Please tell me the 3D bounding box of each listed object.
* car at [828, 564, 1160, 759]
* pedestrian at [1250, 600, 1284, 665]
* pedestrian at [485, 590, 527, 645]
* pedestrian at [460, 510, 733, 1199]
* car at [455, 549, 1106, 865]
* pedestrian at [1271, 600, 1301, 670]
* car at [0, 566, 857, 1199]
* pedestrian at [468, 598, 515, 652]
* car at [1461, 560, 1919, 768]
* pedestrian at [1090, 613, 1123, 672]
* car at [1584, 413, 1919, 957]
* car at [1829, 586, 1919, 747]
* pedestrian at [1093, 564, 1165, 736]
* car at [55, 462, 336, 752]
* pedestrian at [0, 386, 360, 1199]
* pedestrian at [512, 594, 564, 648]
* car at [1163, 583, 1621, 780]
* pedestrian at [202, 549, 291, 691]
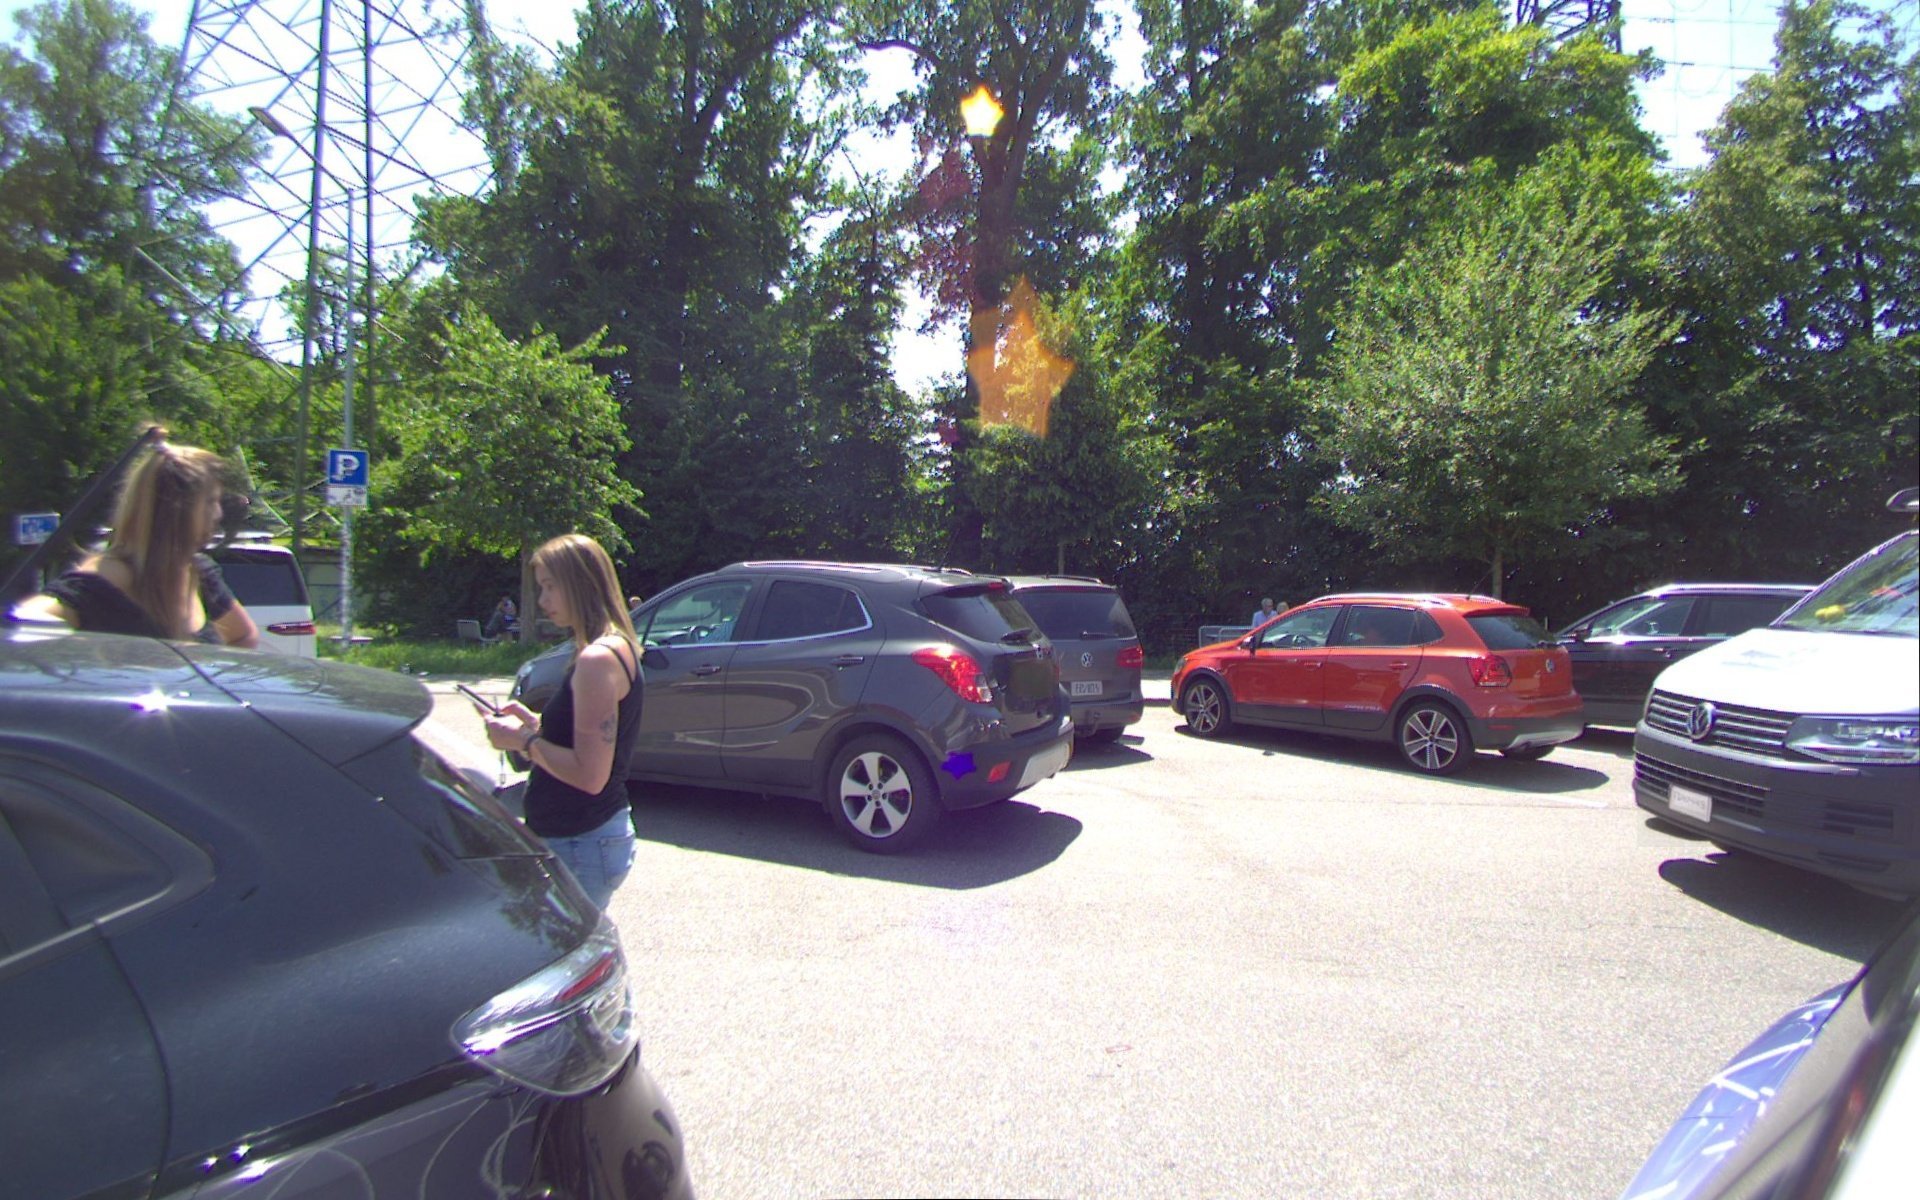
[{"bbox_3d":[0.152,0.502,10.620,1.670,1.637,3.912,0,0,-30],"label":"car"},{"bbox_3d":[5.775,0.605,19.030,0.433,1.207,0.414,0,0,-30],"label":"pedestrian"},{"bbox_3d":[-11.002,0.408,24.541,0.539,1.318,0.758,0,0,37],"label":"pedestrian"},{"bbox_3d":[-0.933,0.606,2.595,0.477,1.614,0.502,1,-1,-44],"label":"pedestrian"},{"bbox_3d":[-1.248,0.535,6.960,4.124,1.637,1.823,1,0,25],"label":"car"},{"bbox_3d":[5.757,0.615,17.866,0.348,1.207,0.367,0,0,-20],"label":"pedestrian"},{"bbox_3d":[-2.041,0.718,0.788,1.777,1.476,3.627,0,0,45],"label":"car"},{"bbox_3d":[-10.503,0.538,22.697,0.785,1.178,0.696,0,0,39],"label":"pedestrian"},{"bbox_3d":[7.169,0.504,9.748,1.679,1.637,3.863,1,0,-40],"label":"car"},{"bbox_3d":[2.305,0.654,15.855,0.494,0.890,0.512,1,-1,10],"label":"pedestrian"},{"bbox_3d":[6.207,0.352,4.695,5.336,2.131,1.842,1,1,4],"label":"car"},{"bbox_3d":[10.291,0.631,8.860,1.813,1.473,3.776,1,0,-36],"label":"car"},{"bbox_3d":[1.758,0.499,10.565,0.576,1.744,0.483,0,0,-20],"label":"pedestrian"},{"bbox_3d":[-8.355,0.050,10.848,1.897,2.400,4.963,1,-1,-43],"label":"car"},{"bbox_3d":[-1.876,0.526,2.427,0.477,1.883,0.914,1,-1,-14],"label":"pedestrian"},{"bbox_3d":[-9.763,0.469,23.403,0.810,1.201,0.836,0,0,40],"label":"pedestrian"},{"bbox_3d":[3.866,0.616,9.637,1.588,1.485,3.751,1,0,-34],"label":"car"},{"bbox_3d":[-9.980,0.265,14.158,0.834,1.903,0.767,0,0,33],"label":"pedestrian"}]
